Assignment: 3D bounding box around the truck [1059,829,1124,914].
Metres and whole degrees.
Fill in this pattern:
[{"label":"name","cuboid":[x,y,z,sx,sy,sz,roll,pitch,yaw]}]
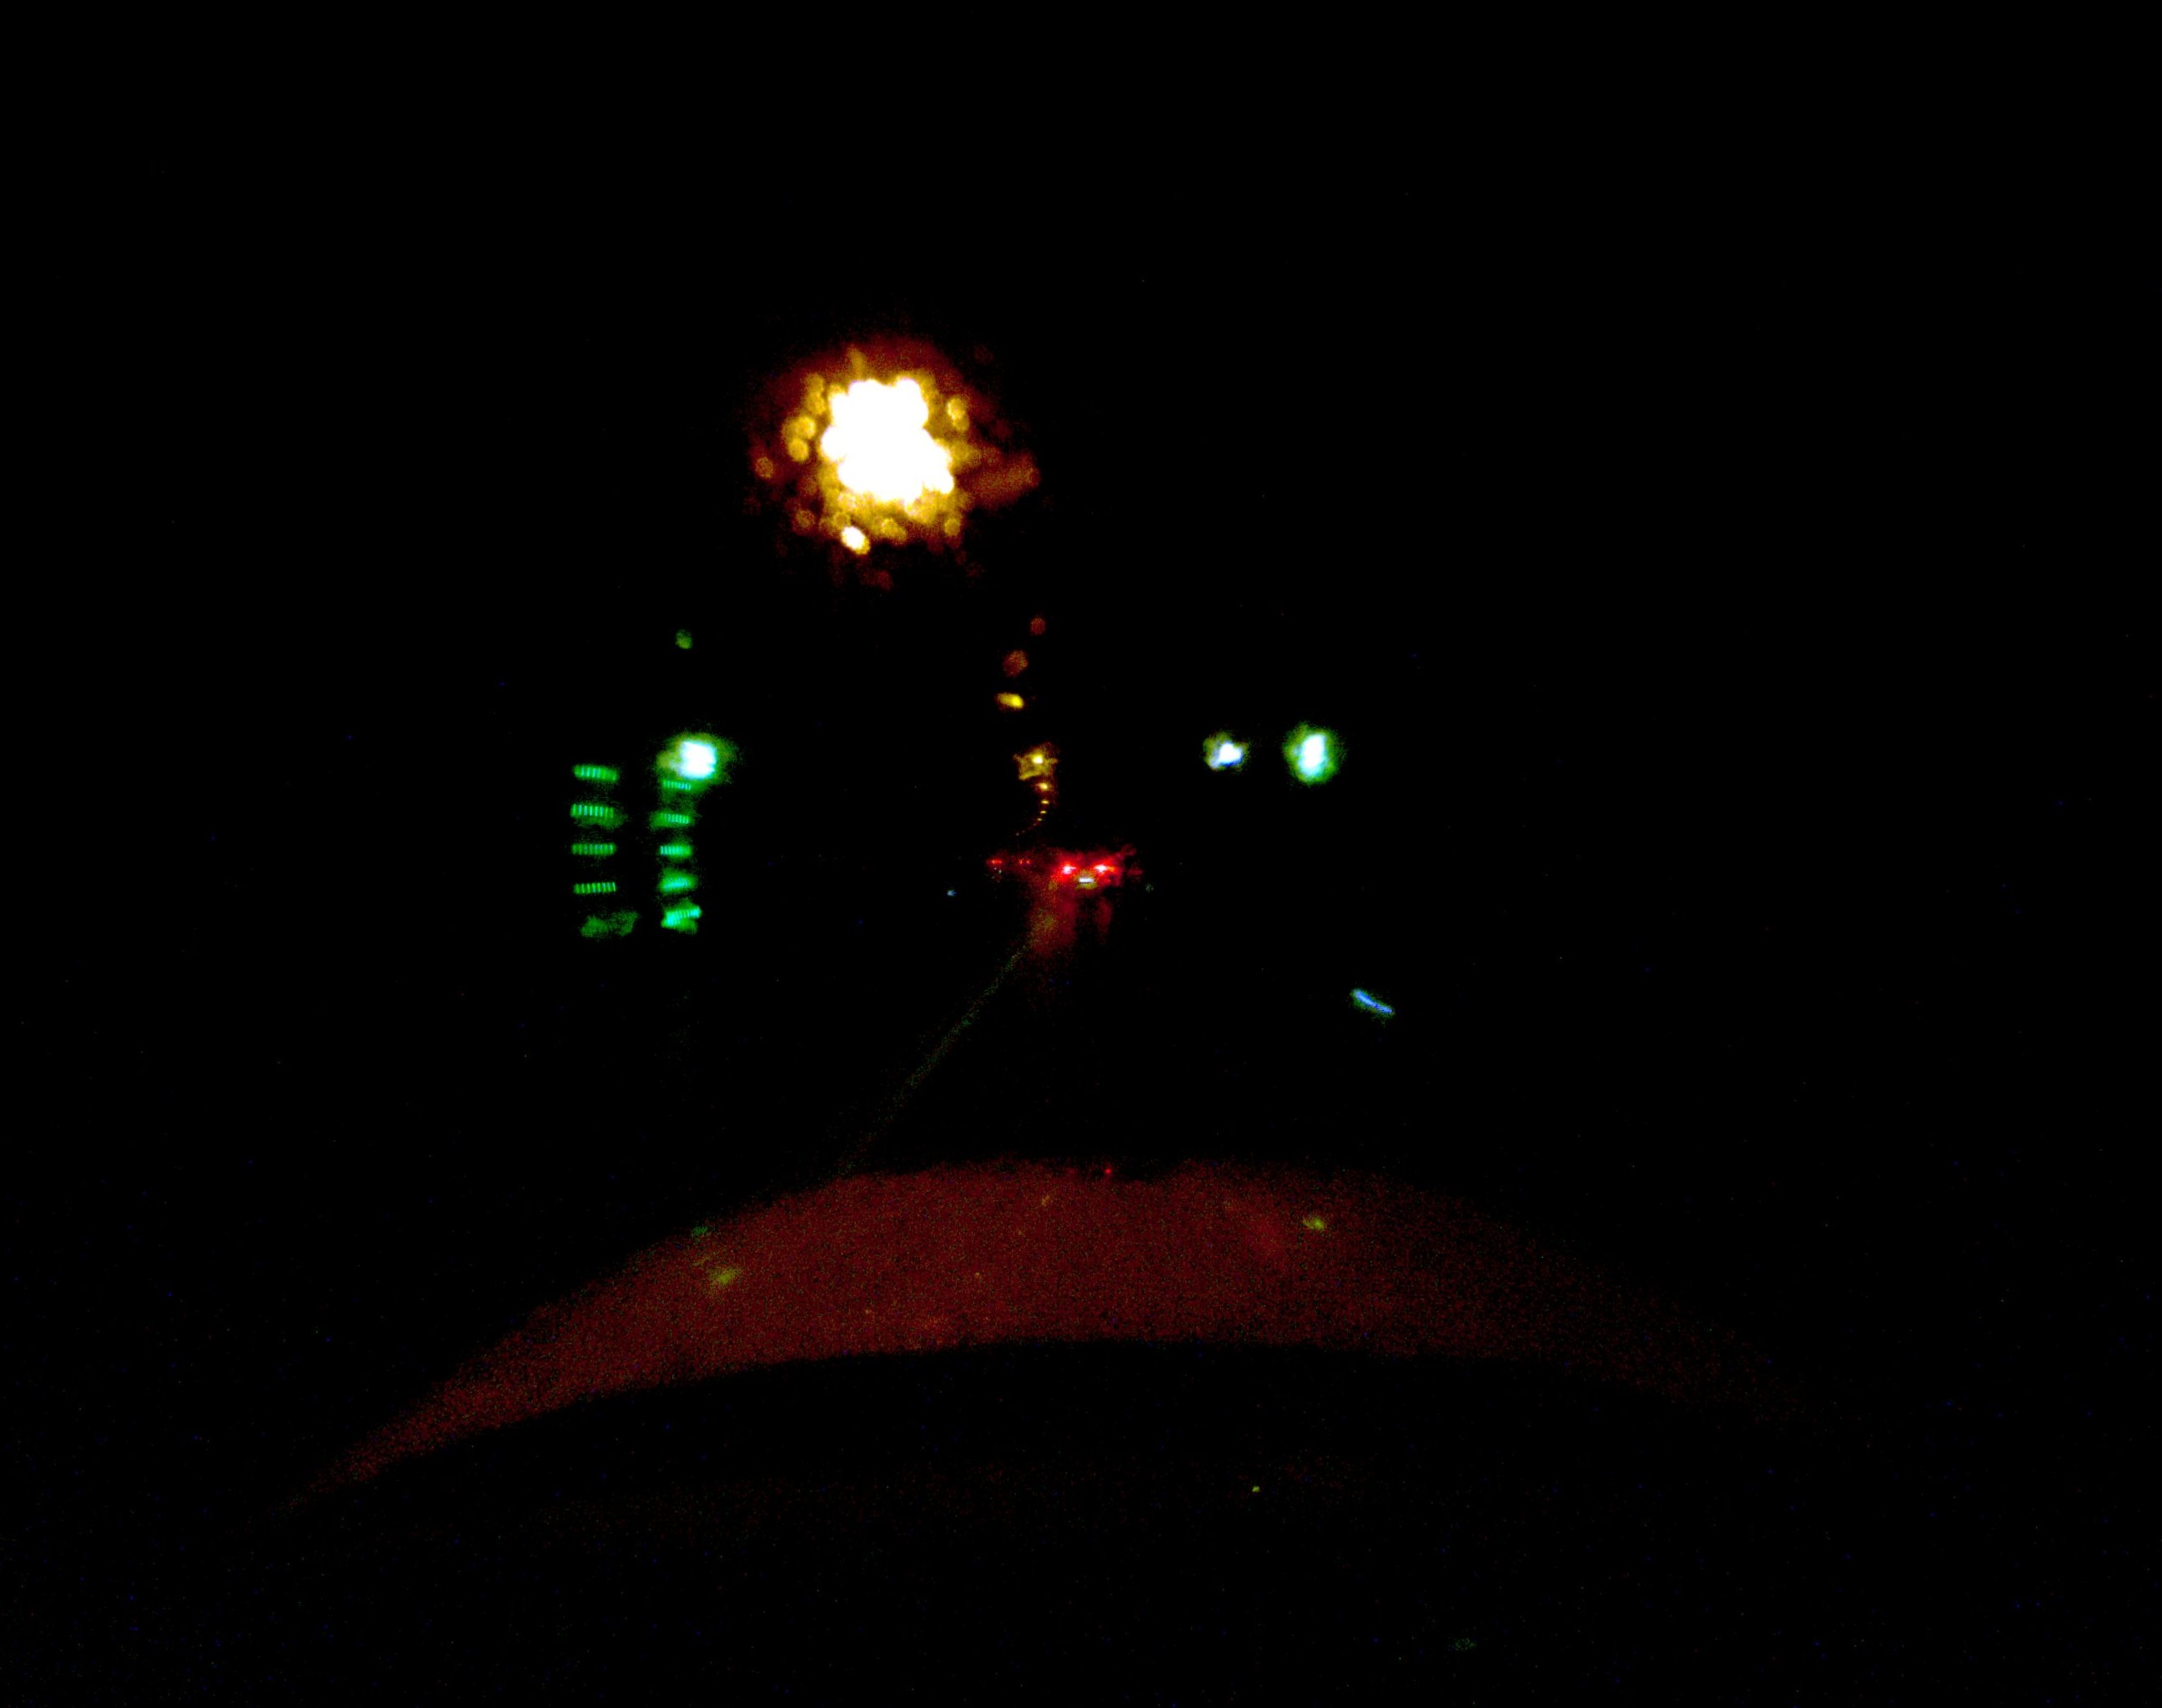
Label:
[{"label":"truck","cuboid":[0.401,0.647,32.996,2.254,3.011,7.414,2,0,0]}]
